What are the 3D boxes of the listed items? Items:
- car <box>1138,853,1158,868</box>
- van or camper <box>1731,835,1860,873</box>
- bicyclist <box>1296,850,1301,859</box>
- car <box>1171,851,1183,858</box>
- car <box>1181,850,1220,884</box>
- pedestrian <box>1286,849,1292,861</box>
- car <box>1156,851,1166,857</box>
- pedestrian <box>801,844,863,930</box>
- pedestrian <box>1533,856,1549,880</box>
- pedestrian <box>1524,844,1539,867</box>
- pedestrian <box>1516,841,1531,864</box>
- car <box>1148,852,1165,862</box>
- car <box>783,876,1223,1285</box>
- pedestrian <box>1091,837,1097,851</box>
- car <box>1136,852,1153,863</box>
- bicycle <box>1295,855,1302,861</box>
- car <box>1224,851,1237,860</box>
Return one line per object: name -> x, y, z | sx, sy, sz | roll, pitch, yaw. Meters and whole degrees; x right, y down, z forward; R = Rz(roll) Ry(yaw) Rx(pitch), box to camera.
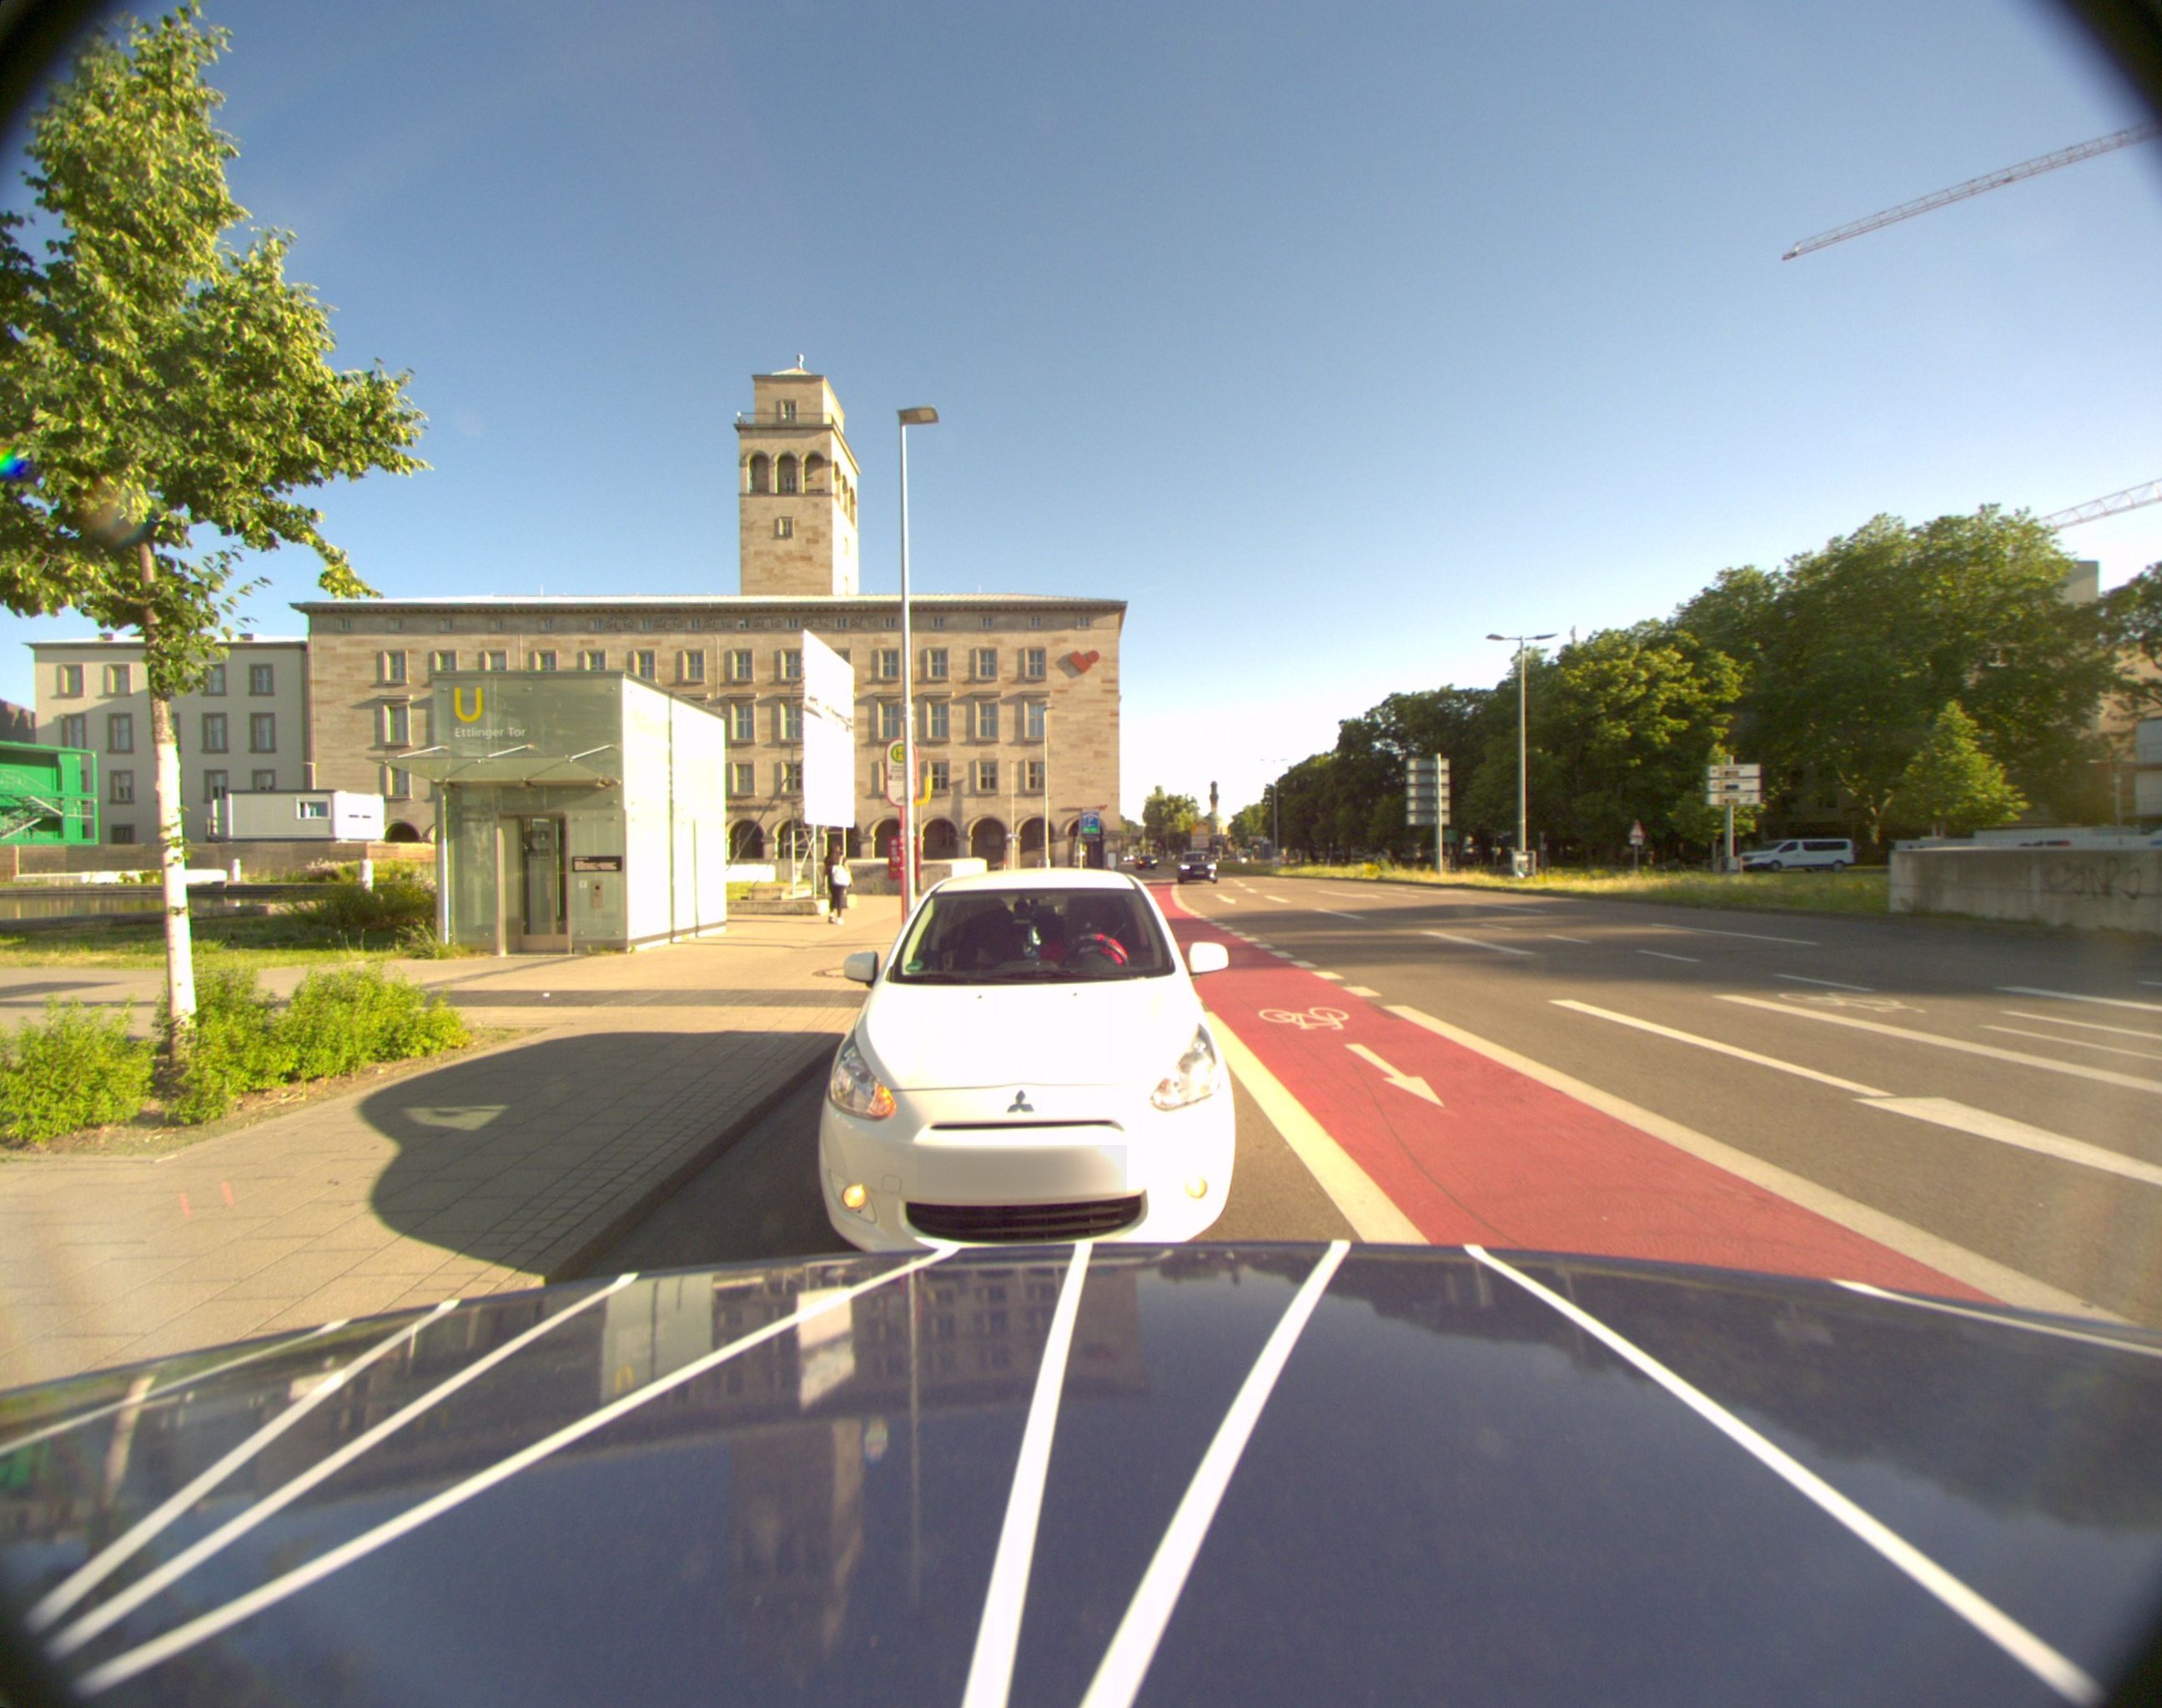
car -> 7.838, 0.703, 89.406 | 1.998, 1.709, 4.326 | -1, 0, 1
van or camper -> 42.301, -0.022, 45.084 | 5.649, 2.002, 1.948 | -2, 1, 2
bicyclist -> 31.619, 0.102, 110.535 | 0.610, 1.274, 0.715 | -1, 1, -1
car -> 19.257, 0.167, 152.038 | 1.872, 1.390, 3.999 | -1, 0, -1
car -> 6.277, 0.634, 40.226 | 1.936, 1.634, 4.619 | -1, 0, 8
pedestrian -> 32.176, 0.202, 117.589 | 0.627, 1.837, 0.925 | -1, 1, 5
car -> 18.783, -0.072, 178.143 | 1.873, 1.390, 3.999 | -1, 0, -2
pedestrian -> -5.375, 0.681, 16.482 | 0.942, 1.776, 1.072 | 2, 1, 1
pedestrian -> 34.125, 1.041, 56.373 | 0.707, 1.715, 0.762 | -1, 1, 1
pedestrian -> 33.467, 0.129, 56.448 | 0.665, 1.715, 0.762 | -1, 1, 1
pedestrian -> 32.782, -0.131, 56.287 | 0.707, 1.715, 0.762 | -1, 1, 1
car -> 11.215, 0.409, 112.750 | 1.999, 1.398, 4.488 | -2, 0, 0
car -> -0.208, 0.958, 4.918 | 1.678, 1.440, 3.890 | -2, 0, 3
pedestrian -> 1.750, -1.319, 100.153 | 0.704, 1.843, 0.828 | -1, 1, 0
car -> 8.899, 0.456, 106.289 | 1.998, 1.398, 4.488 | -2, 0, 0
bicycle -> 31.623, 0.592, 110.544 | 0.610, 0.838, 1.745 | -1, 0, -1
car -> 26.521, 0.245, 134.785 | 1.996, 1.499, 4.004 | -1, 0, 13
